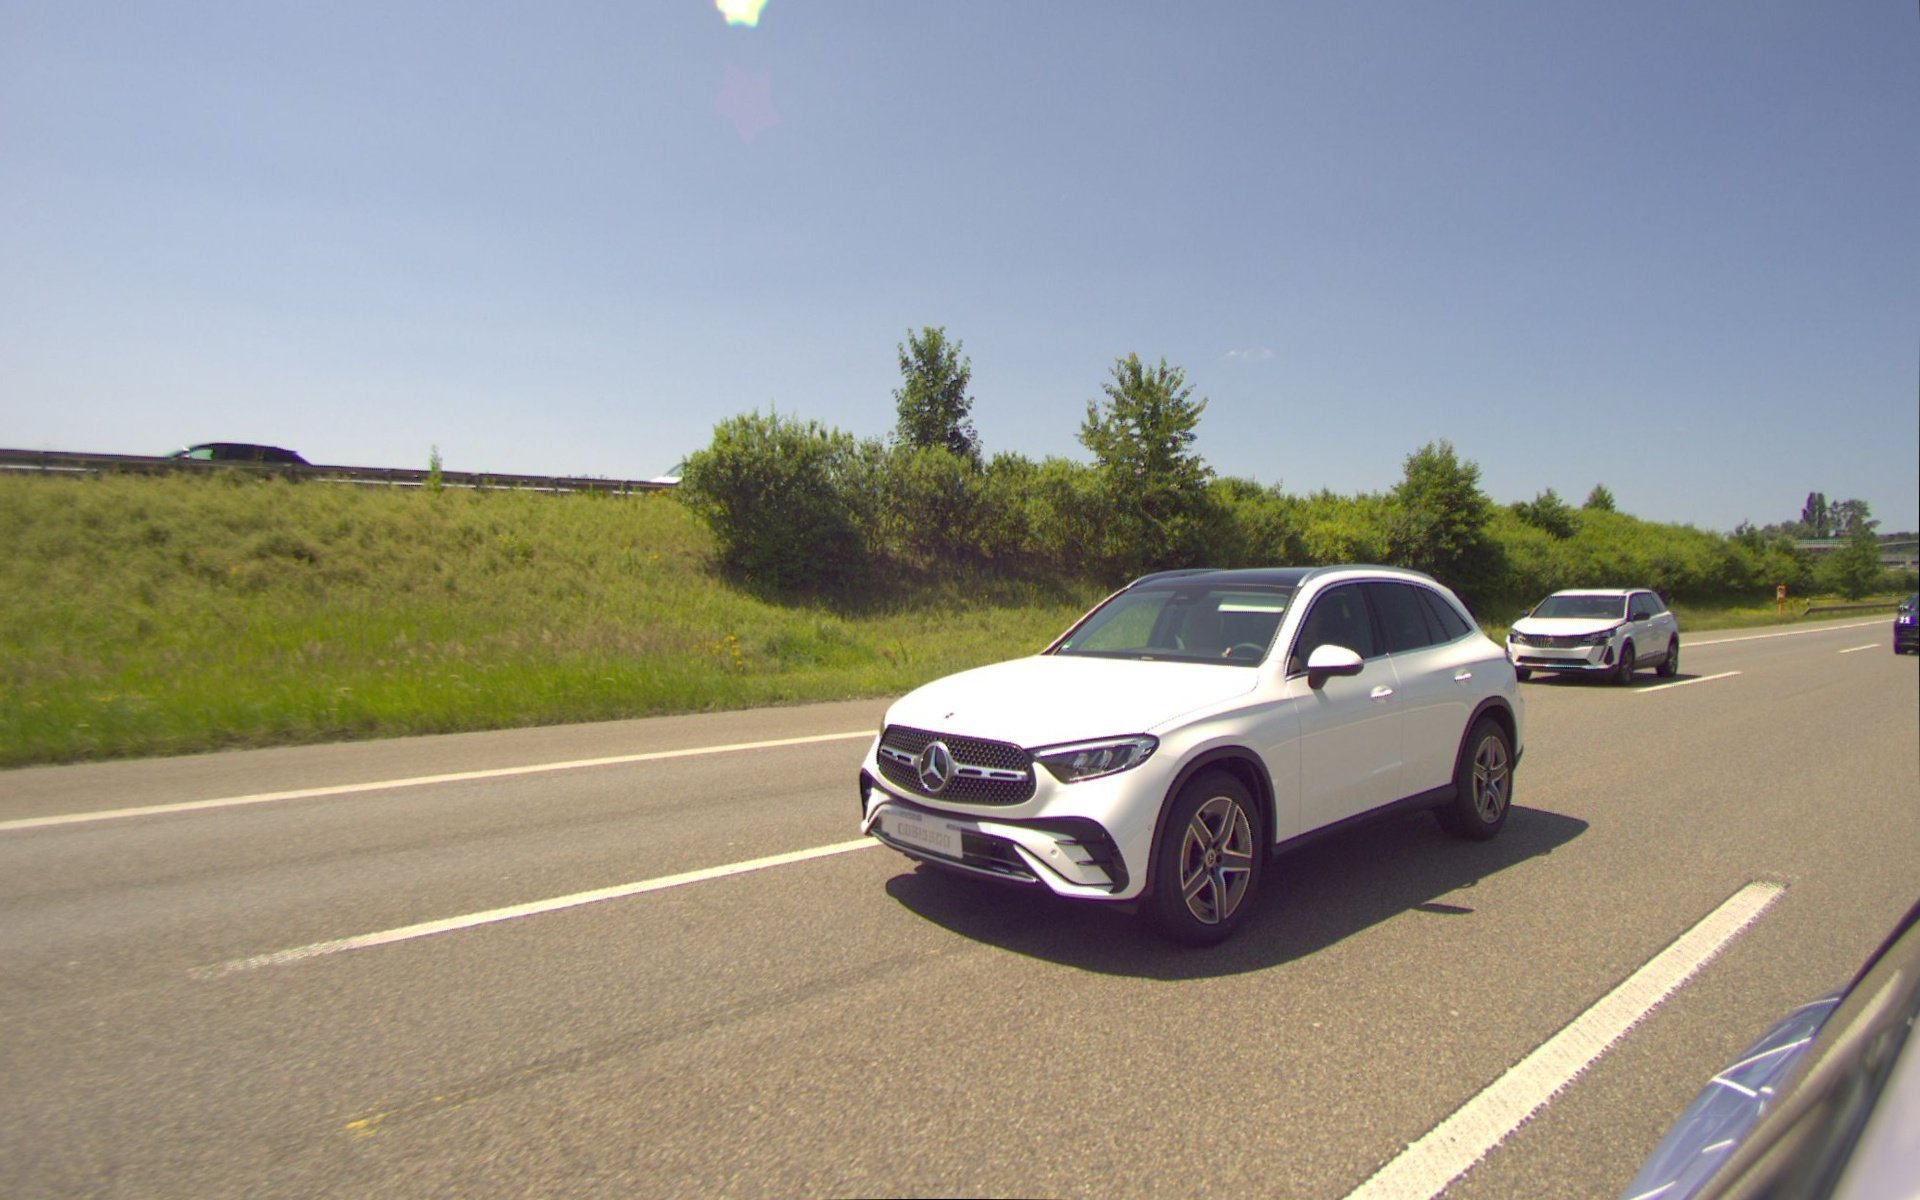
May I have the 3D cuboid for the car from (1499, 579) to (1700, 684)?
[{"bbox_3d":[11.700,0.474,18.388,4.537,1.650,1.896,-1,1,-41],"label":"car"}]

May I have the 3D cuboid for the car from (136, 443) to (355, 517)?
[{"bbox_3d":[-17.974,-2.949,25.590,1.993,1.400,4.231,1,1,42],"label":"car"}]

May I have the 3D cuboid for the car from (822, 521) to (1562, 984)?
[{"bbox_3d":[1.630,0.544,5.899,4.555,1.677,1.908,0,0,-41],"label":"car"}]

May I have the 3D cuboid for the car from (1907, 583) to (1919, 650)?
[{"bbox_3d":[26.339,0.389,26.476,4.539,1.650,1.980,-1,1,-43],"label":"car"}]
